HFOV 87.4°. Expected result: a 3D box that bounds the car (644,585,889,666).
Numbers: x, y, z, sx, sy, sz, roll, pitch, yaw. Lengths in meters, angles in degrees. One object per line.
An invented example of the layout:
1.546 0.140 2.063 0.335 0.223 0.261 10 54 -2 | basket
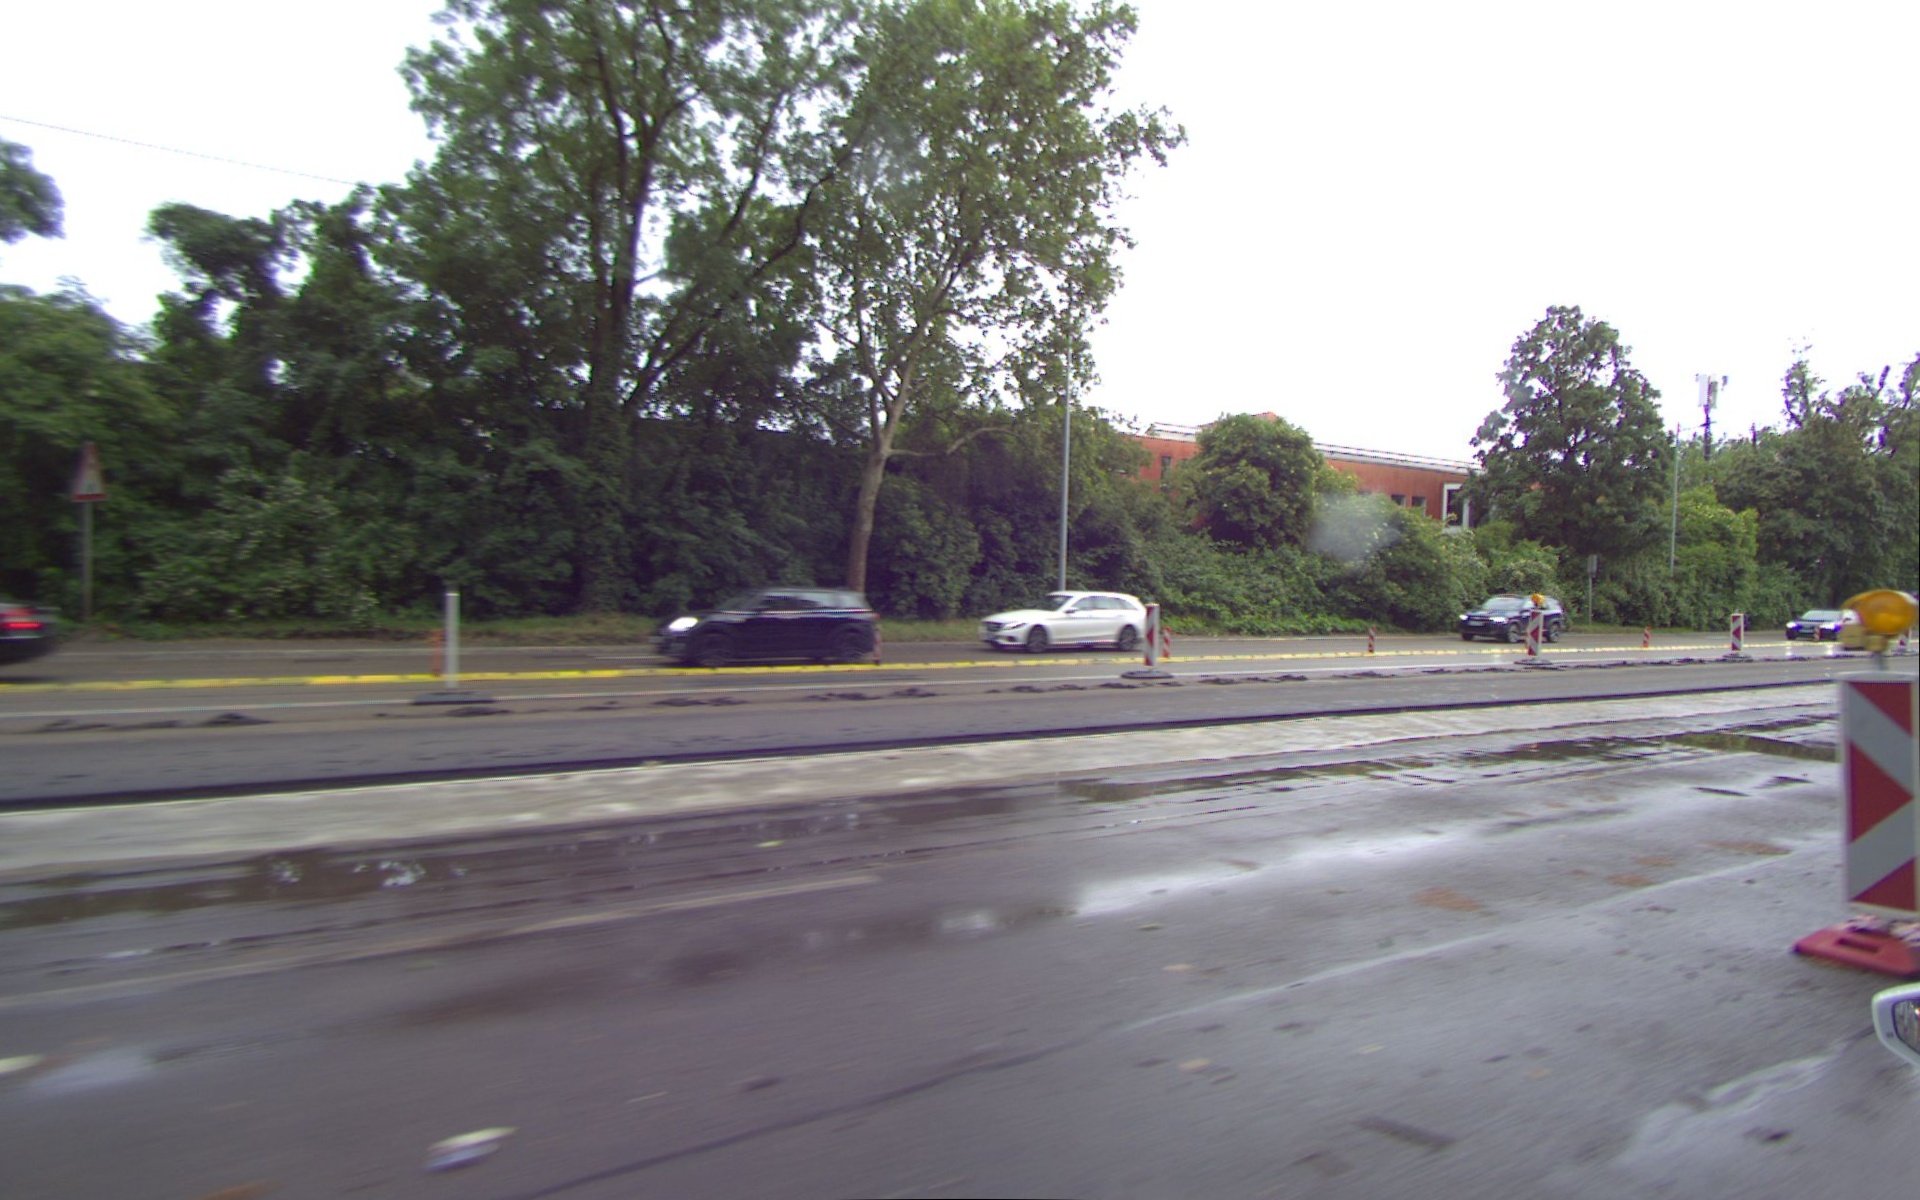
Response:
-3.590 0.463 18.815 4.157 1.373 1.808 1 -1 -32 | car

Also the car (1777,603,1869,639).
38.673 0.935 44.978 4.846 1.503 1.750 1 1 -32 | car

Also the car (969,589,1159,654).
2.626 0.525 25.043 4.550 1.439 1.808 1 2 -32 | car

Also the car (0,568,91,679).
-13.787 0.270 12.402 4.340 1.373 1.808 1 -1 -32 | car

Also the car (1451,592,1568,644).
19.781 0.639 36.099 4.482 1.708 1.644 1 2 -32 | car

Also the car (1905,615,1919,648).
53.320 1.751 54.601 4.444 1.745 1.725 1 1 -32 | car
